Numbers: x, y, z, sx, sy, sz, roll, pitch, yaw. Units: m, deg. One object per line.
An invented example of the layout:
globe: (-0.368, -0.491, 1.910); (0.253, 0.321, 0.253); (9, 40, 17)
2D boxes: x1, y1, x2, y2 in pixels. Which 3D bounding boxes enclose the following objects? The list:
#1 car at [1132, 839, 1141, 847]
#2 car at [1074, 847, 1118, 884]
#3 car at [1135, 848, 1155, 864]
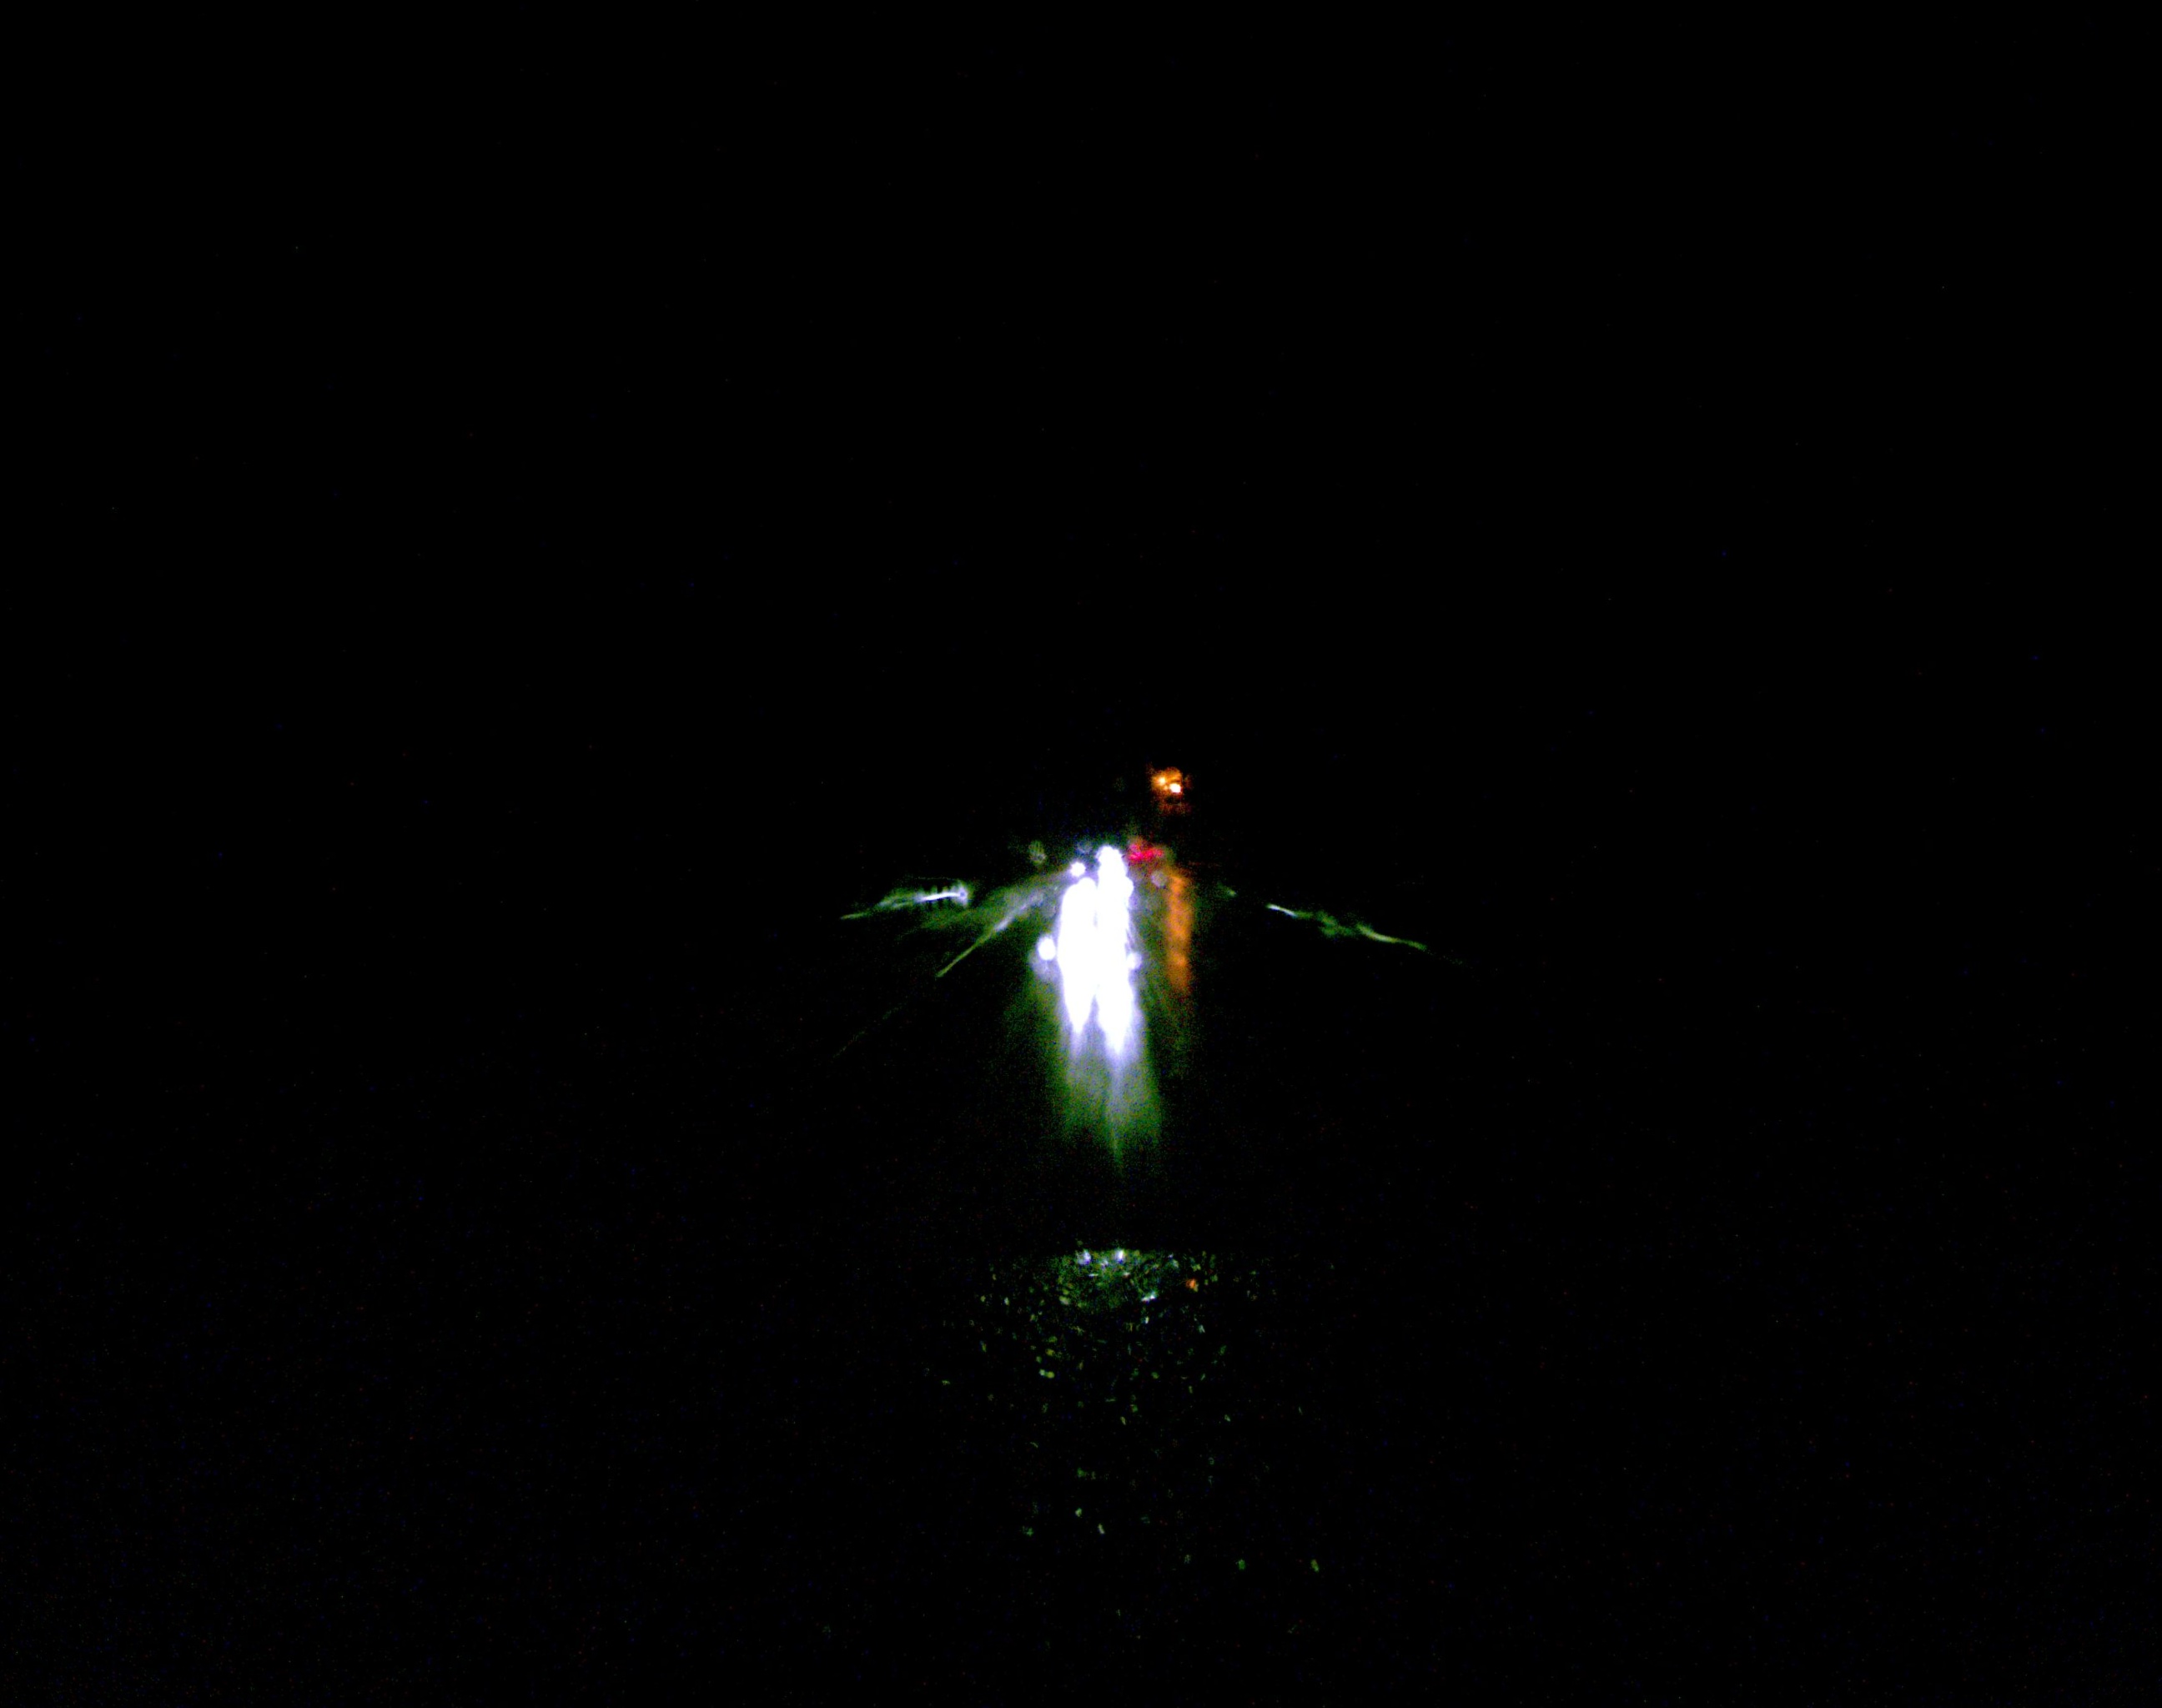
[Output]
car: (10.925, -2.177, 149.905); (1.805, 1.484, 3.867); (-2, 2, 4)
car: (0.713, 0.589, 37.381); (1.944, 1.580, 4.776); (-3, -1, 0)
car: (6.467, 0.189, 77.012); (1.919, 1.467, 4.203); (-3, 1, 5)
